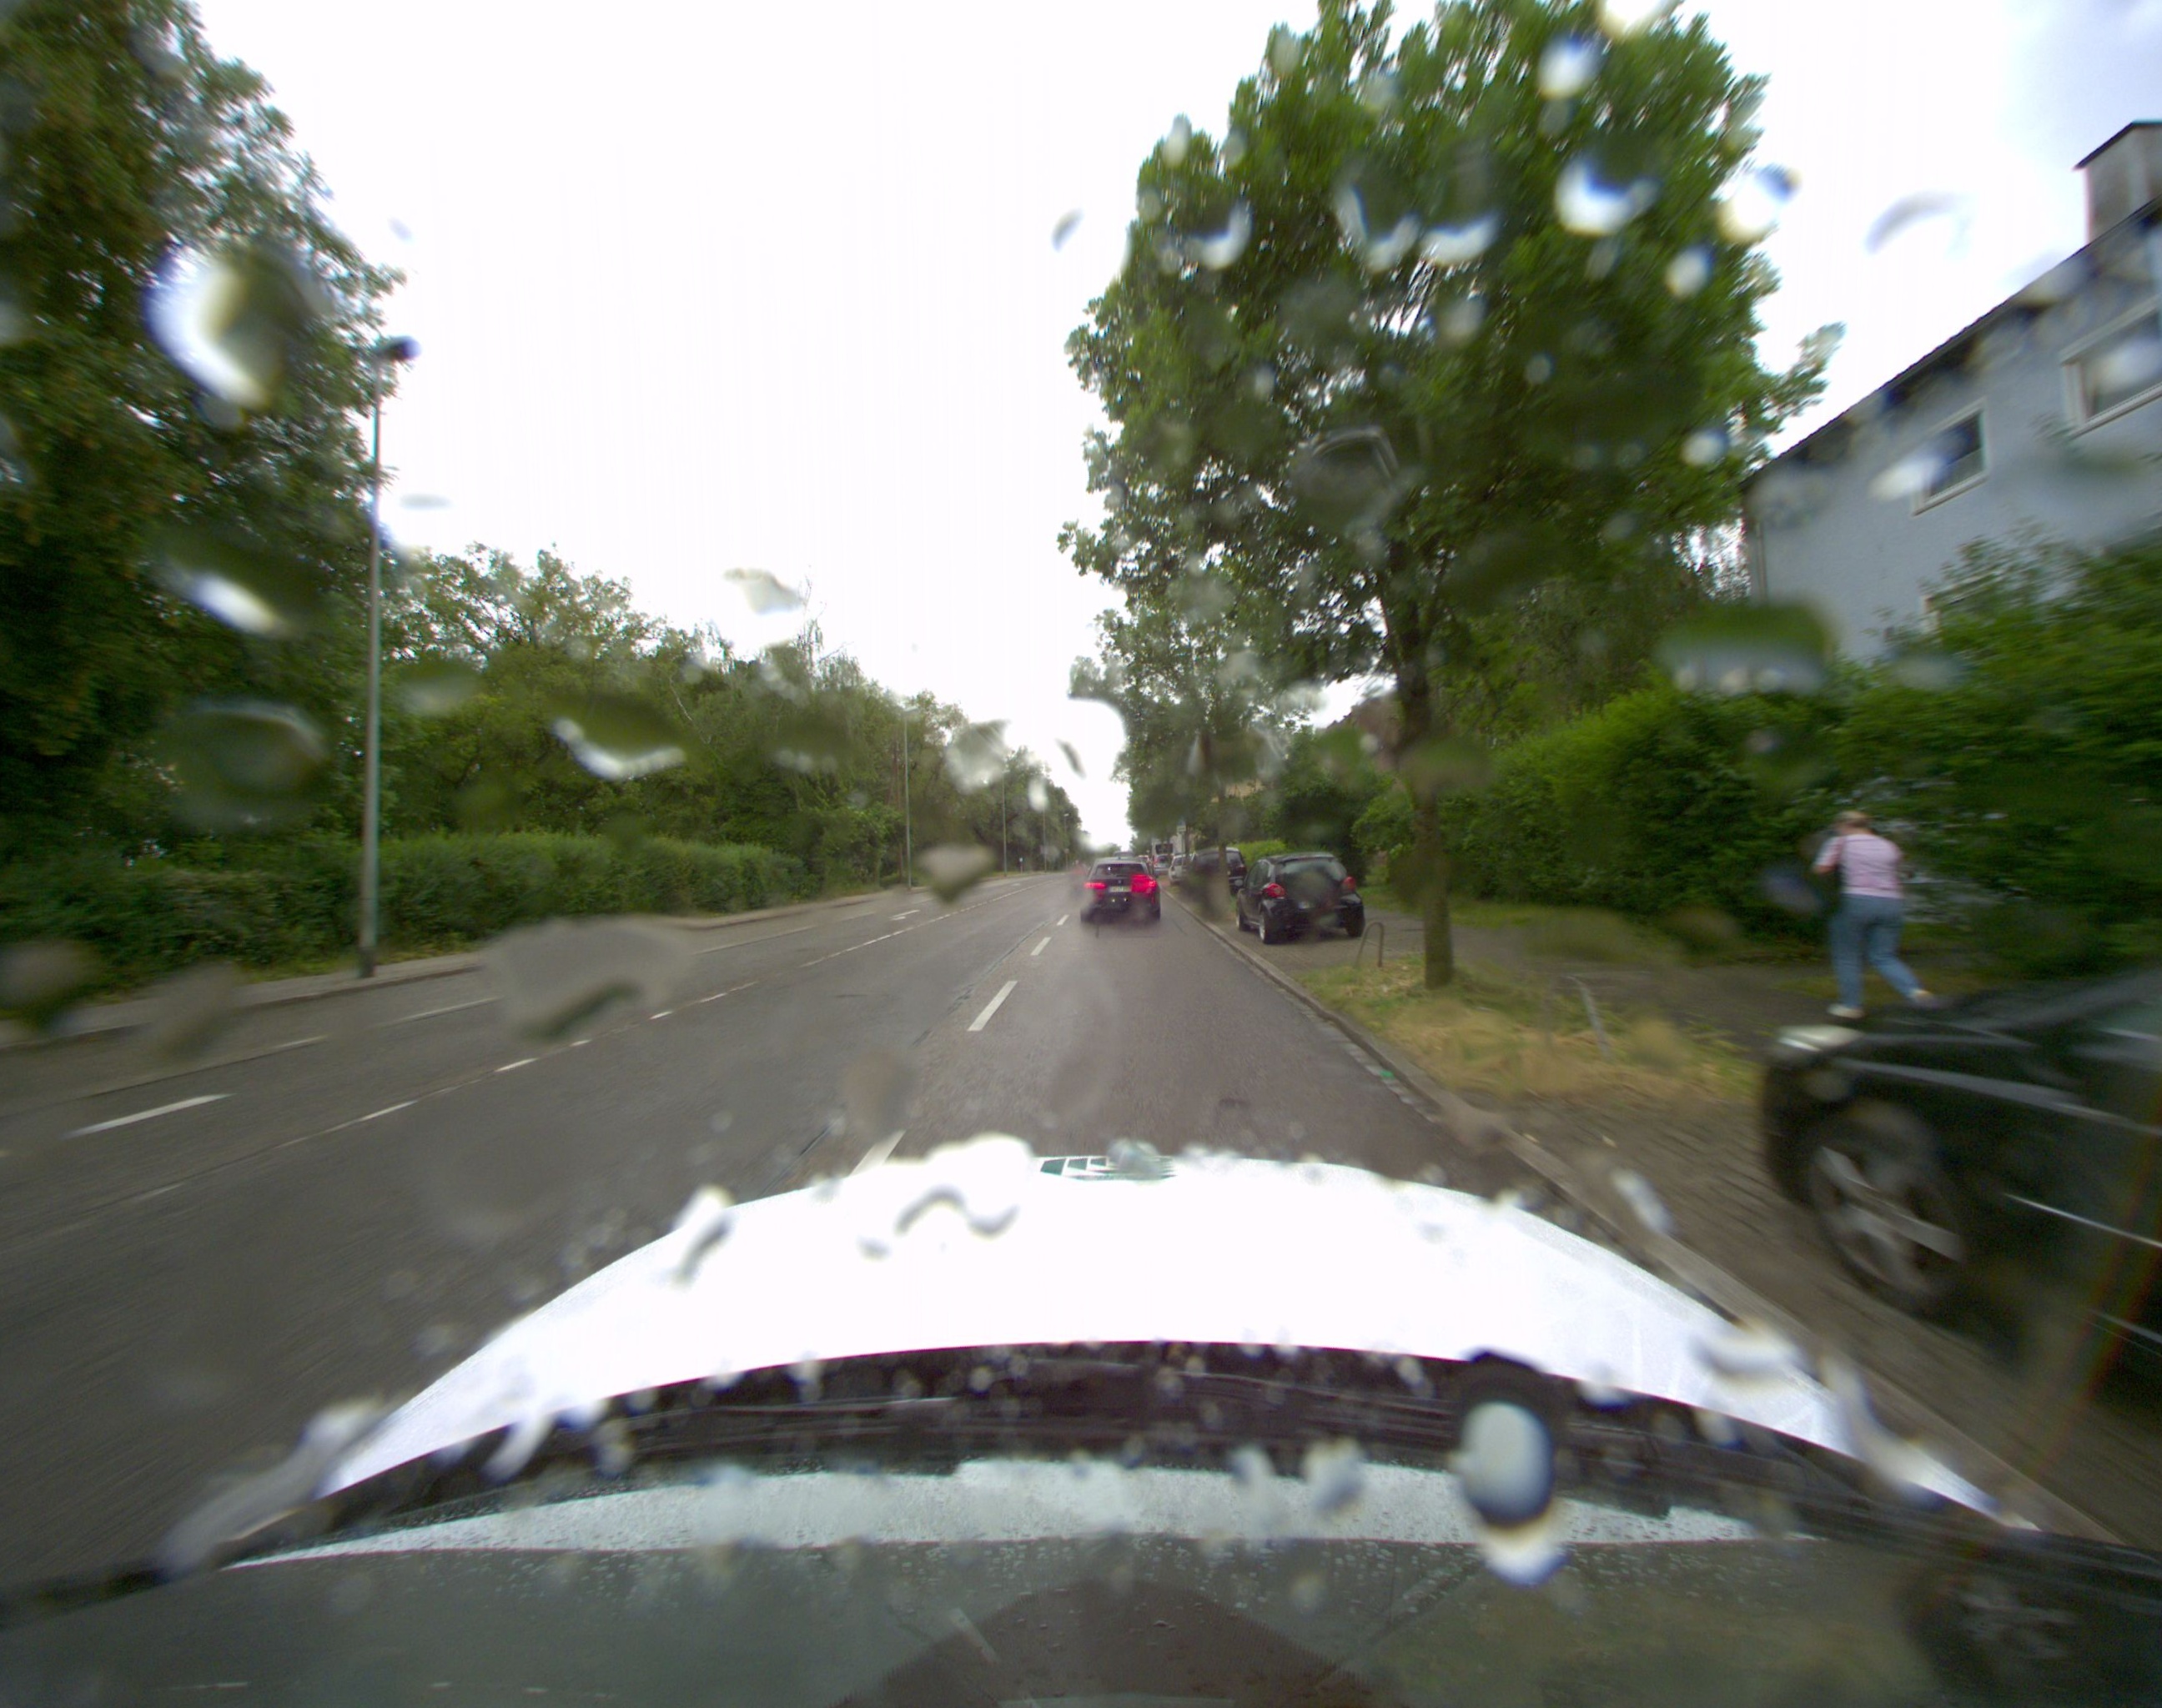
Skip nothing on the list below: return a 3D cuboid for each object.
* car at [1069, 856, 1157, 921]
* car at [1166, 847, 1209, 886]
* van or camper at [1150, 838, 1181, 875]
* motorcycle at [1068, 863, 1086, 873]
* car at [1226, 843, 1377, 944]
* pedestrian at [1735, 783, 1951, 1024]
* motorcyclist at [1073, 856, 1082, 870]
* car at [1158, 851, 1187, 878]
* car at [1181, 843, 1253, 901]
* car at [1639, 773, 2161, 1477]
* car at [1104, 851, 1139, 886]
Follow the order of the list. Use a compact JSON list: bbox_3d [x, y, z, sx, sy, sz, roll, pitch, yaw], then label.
[{"bbox_3d":[0.813,0.818,20.431,1.986,1.453,4.002,0,-1,2],"label":"car"},{"bbox_3d":[5.006,0.547,38.426,1.814,1.603,4.482,-4,0,7],"label":"car"},{"bbox_3d":[6.712,0.186,65.361,2.188,2.651,7.310,-4,0,4],"label":"van or camper"},{"bbox_3d":[-0.436,1.625,96.271,0.829,1.118,2.162,0,-1,-45],"label":"motorcycle"},{"bbox_3d":[3.851,0.636,14.899,1.716,1.512,3.786,-4,0,1],"label":"car"},{"bbox_3d":[5.796,0.353,6.258,0.714,1.680,0.894,-3,-1,-1],"label":"pedestrian"},{"bbox_3d":[-0.387,1.100,96.228,0.643,1.681,0.818,-1,-1,45],"label":"motorcyclist"},{"bbox_3d":[6.003,0.669,53.435,1.660,1.528,3.838,-5,-1,6],"label":"car"},{"bbox_3d":[4.493,0.566,27.487,1.816,1.678,4.588,-4,0,3],"label":"car"},{"bbox_3d":[3.236,0.570,1.470,1.636,1.595,4.014,-5,0,1],"label":"car"},{"bbox_3d":[2.513,0.913,50.256,1.984,2.014,4.004,-2,-1,4],"label":"car"}]
